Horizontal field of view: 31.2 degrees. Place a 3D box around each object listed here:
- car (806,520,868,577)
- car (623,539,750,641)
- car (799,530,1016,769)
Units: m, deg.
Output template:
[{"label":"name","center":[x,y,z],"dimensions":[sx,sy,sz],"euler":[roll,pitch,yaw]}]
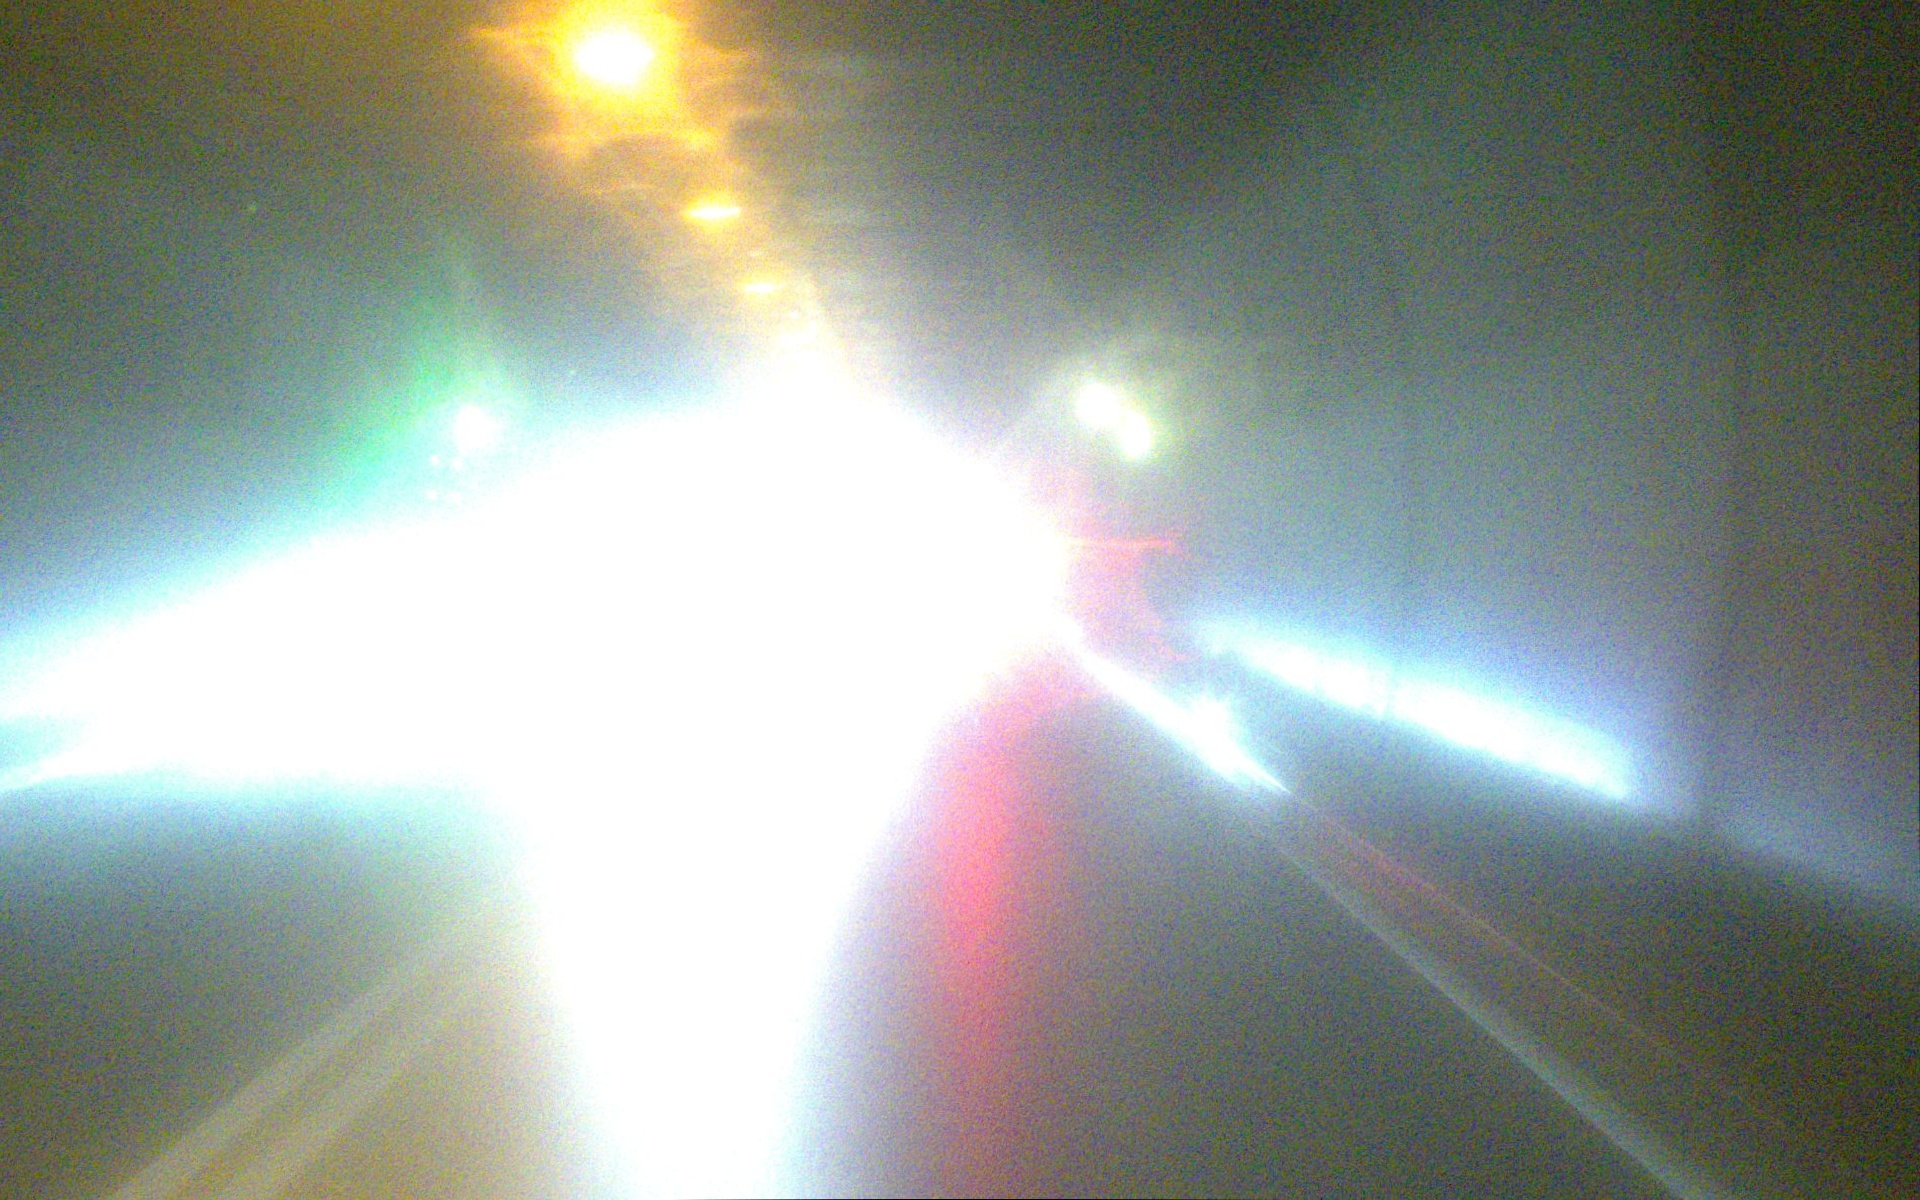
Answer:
[{"label":"car","center":[-4.562,-1.933,127.460],"dimensions":[2.211,2.006,4.001],"euler":[-1,2,-2]},{"label":"car","center":[-4.181,-0.189,53.024],"dimensions":[1.777,1.404,4.295],"euler":[-1,2,-2]},{"label":"car","center":[-0.381,0.343,28.507],"dimensions":[1.635,1.751,4.146],"euler":[-1,2,1]}]
